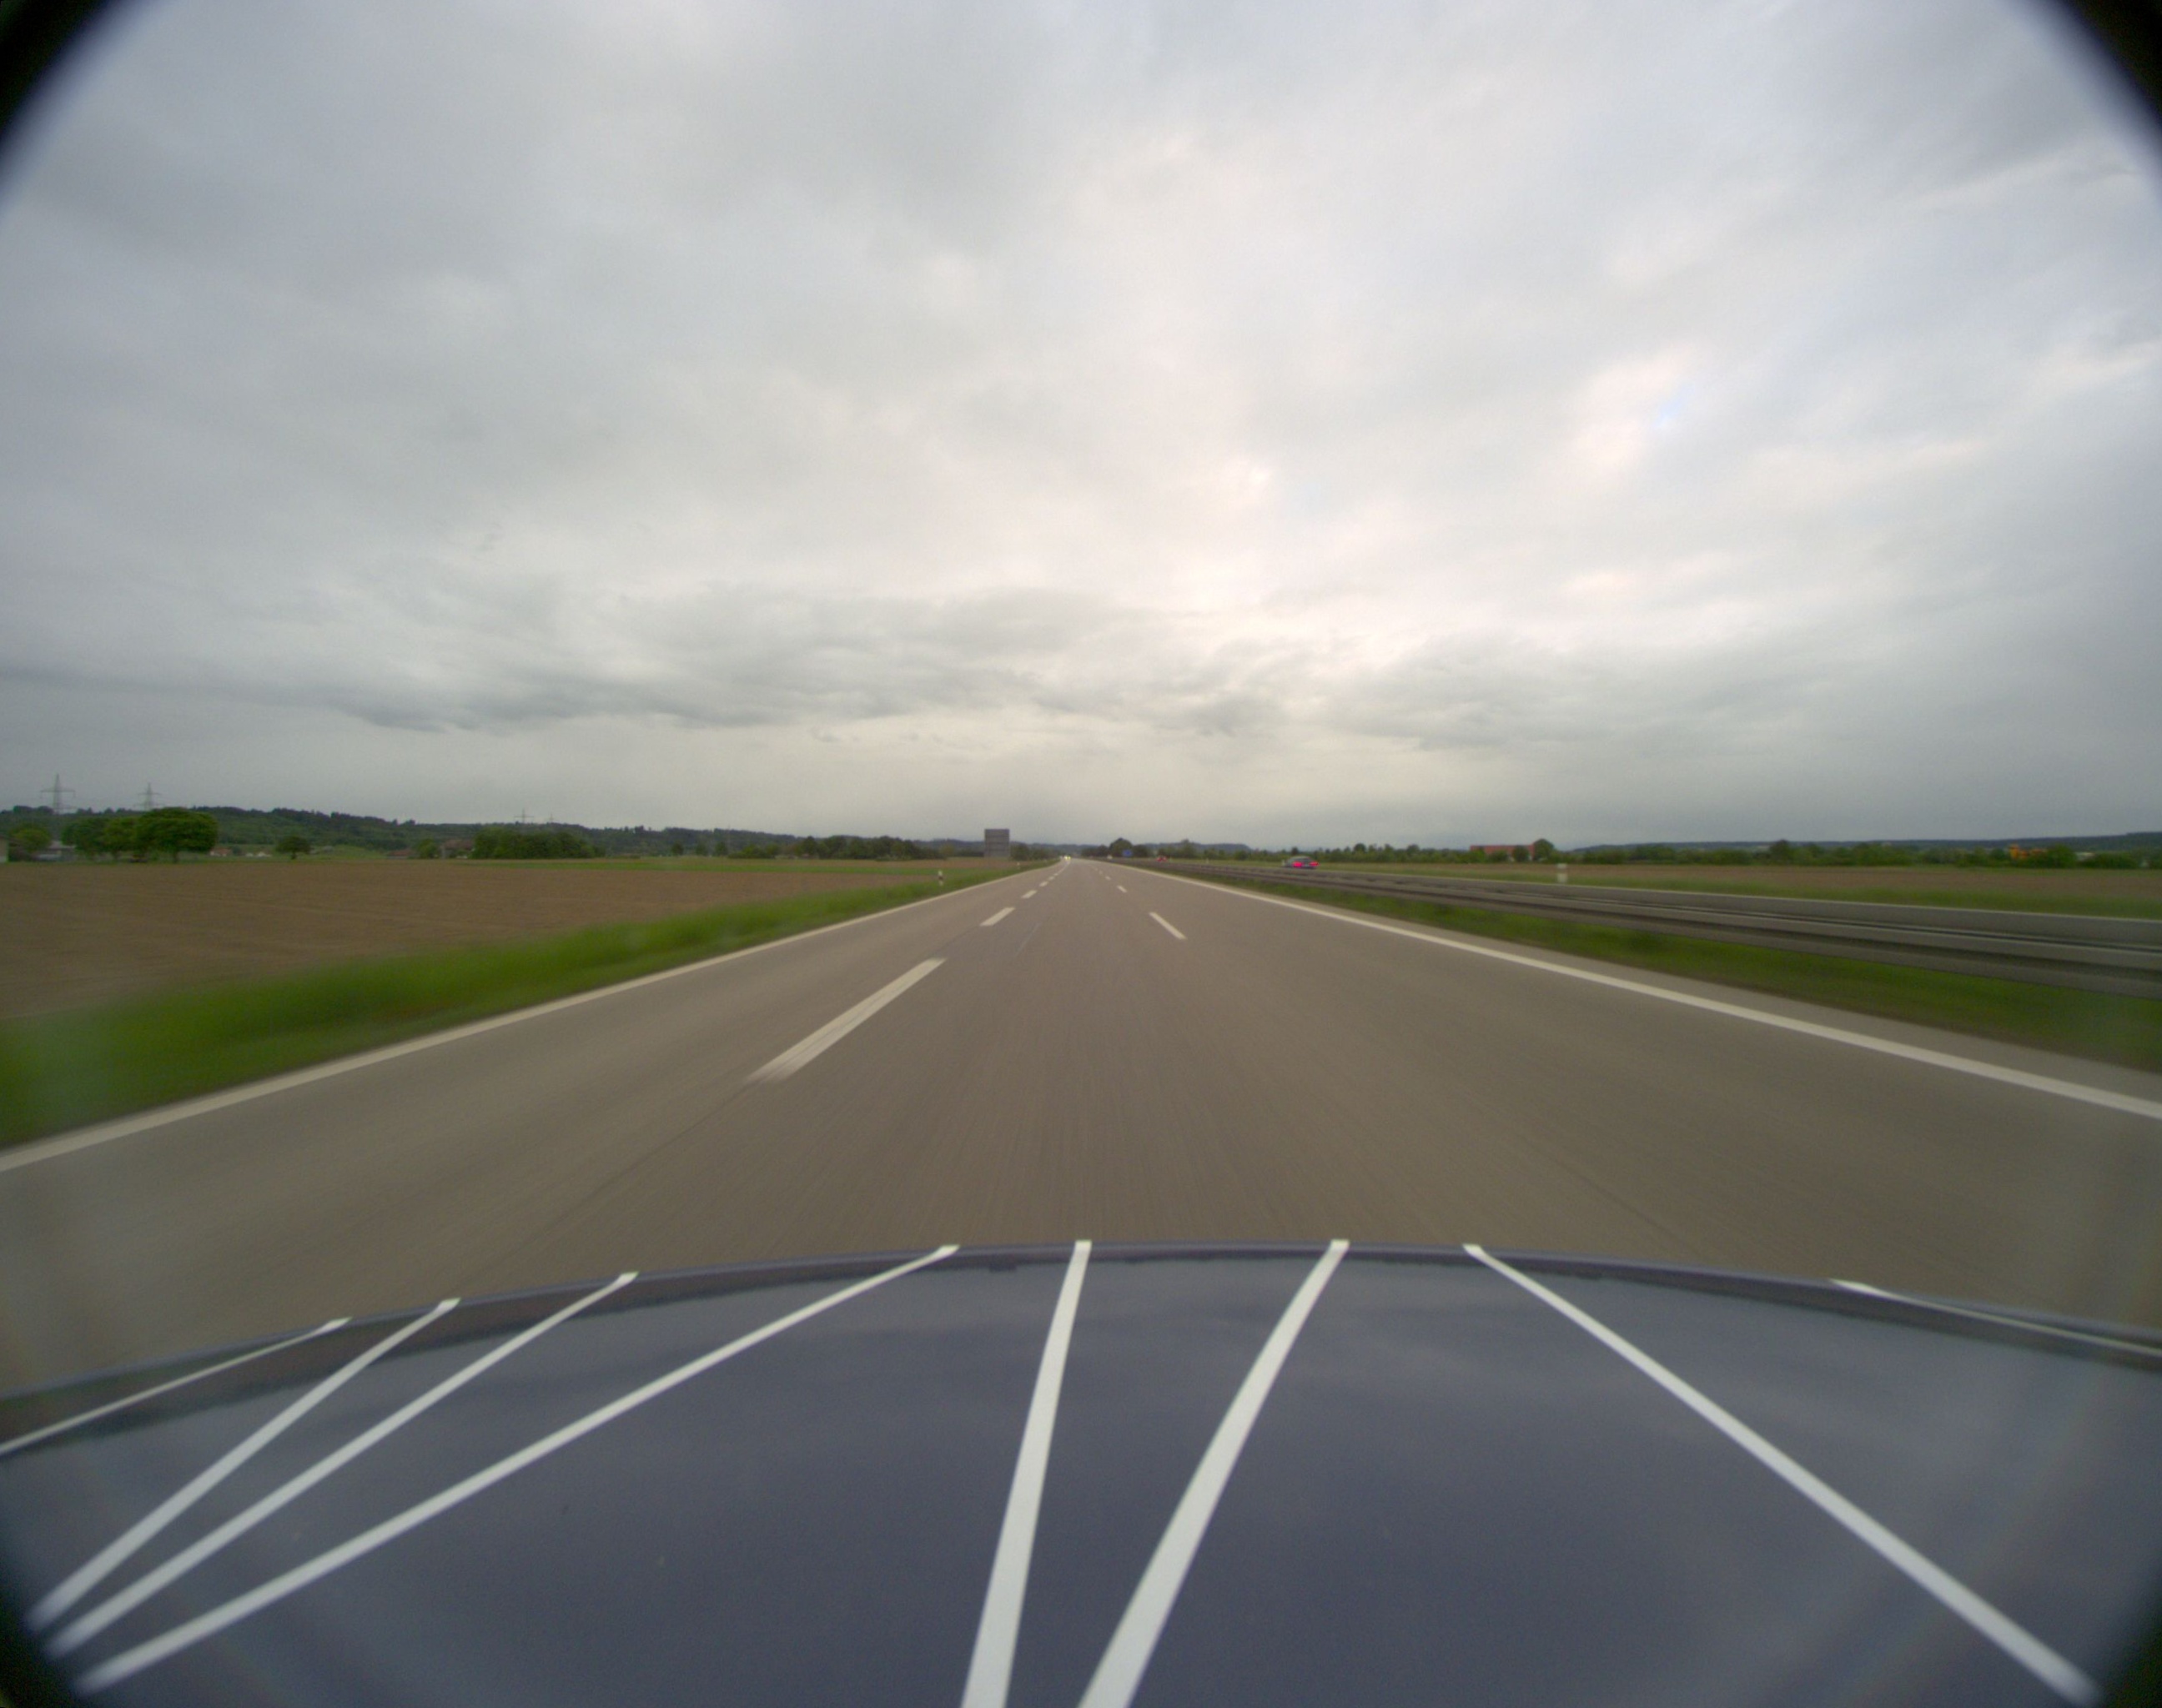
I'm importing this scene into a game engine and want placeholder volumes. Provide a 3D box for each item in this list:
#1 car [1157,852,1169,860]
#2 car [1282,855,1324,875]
[{"bbox_3d":[17.151,0.406,158.846,1.998,1.471,4.451,-2,0,0],"label":"car"},{"bbox_3d":[17.396,0.814,59.783,1.998,1.408,4.523,-2,0,0],"label":"car"}]
